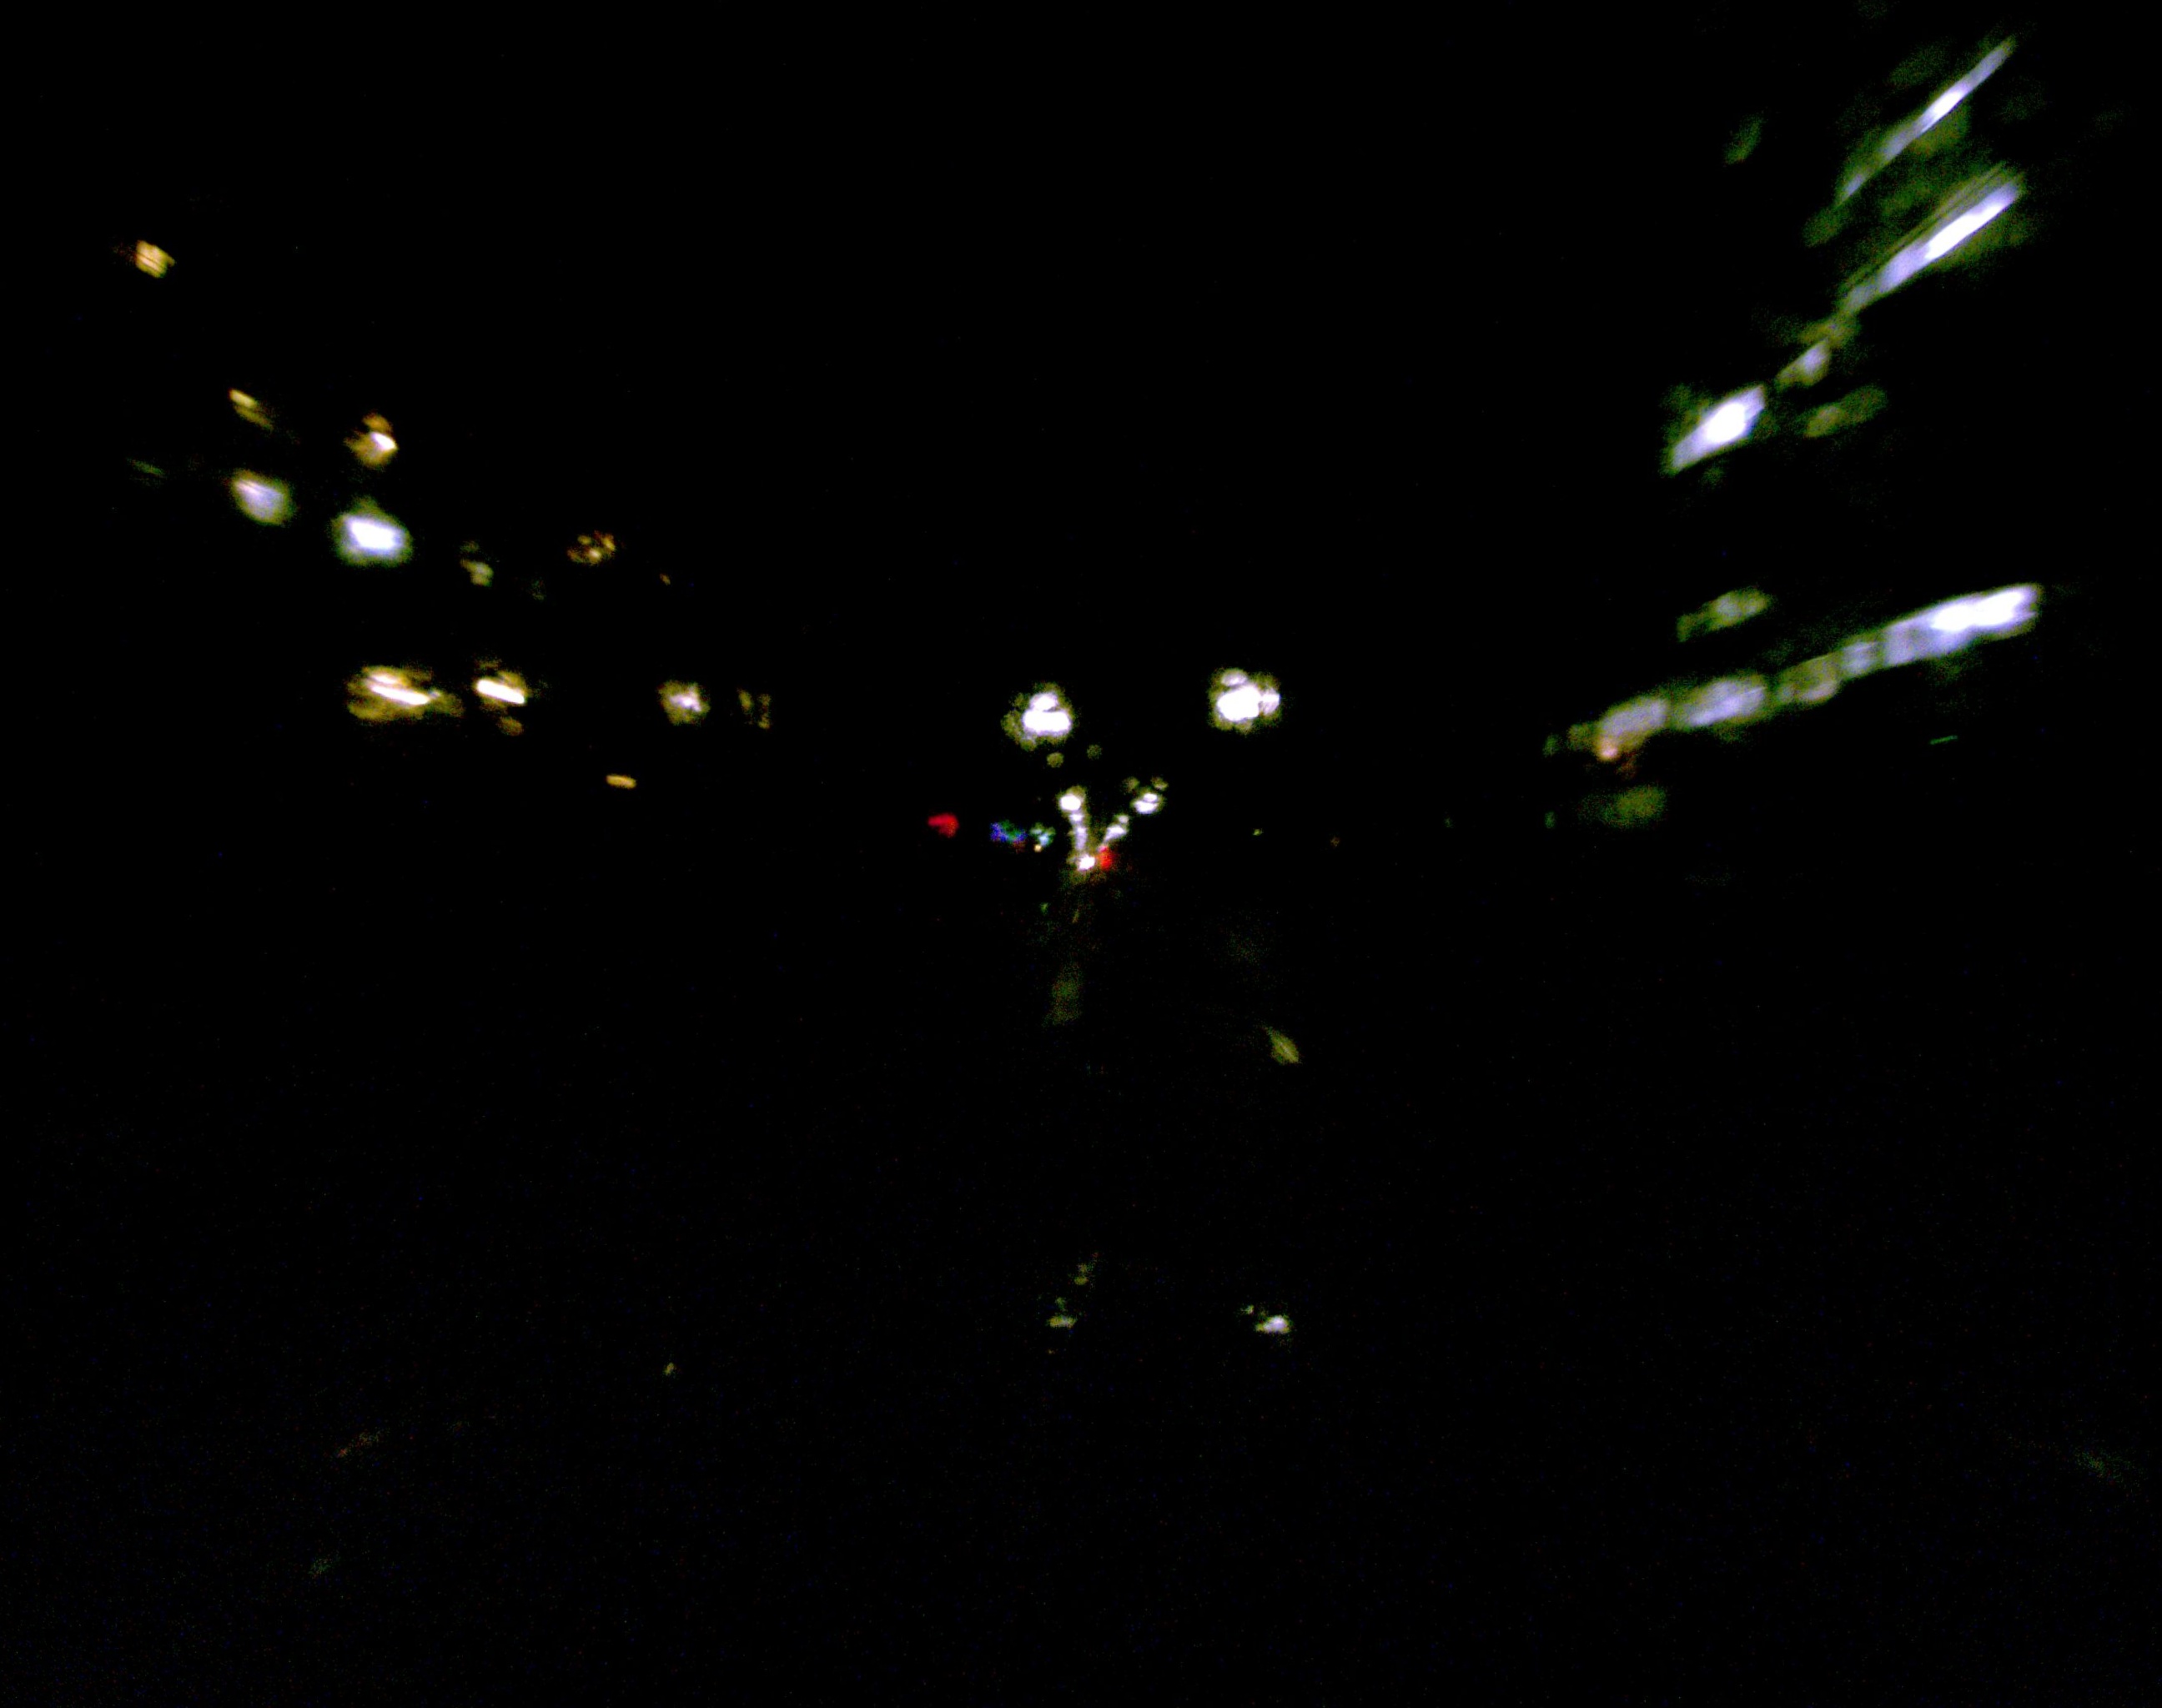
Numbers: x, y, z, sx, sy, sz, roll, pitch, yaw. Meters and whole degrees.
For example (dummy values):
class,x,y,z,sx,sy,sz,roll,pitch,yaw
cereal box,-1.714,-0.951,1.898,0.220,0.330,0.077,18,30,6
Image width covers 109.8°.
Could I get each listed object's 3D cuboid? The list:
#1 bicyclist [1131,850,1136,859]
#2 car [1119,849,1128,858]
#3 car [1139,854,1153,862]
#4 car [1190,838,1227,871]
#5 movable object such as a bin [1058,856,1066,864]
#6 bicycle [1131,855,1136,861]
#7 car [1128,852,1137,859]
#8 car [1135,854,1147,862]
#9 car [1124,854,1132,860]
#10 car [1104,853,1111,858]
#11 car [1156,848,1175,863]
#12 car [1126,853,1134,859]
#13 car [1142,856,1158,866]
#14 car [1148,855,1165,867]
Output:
class,x,y,z,sx,sy,sz,roll,pitch,yaw
bicyclist,9.675,0.166,139.339,0.784,1.646,1.206,1,1,1
car,12.935,-0.062,230.352,2.248,2.494,5.259,-3,0,-2
car,11.696,0.689,136.968,1.893,1.454,4.958,0,0,-3
car,10.282,0.063,61.860,2.190,2.576,6.393,-1,0,3
movable object such as a bin,-3.604,1.145,147.140,1.371,1.414,1.073,1,1,6
bicycle,9.662,0.674,139.351,0.784,1.076,1.918,1,1,1
car,12.761,0.448,188.141,1.814,1.569,4.353,-4,0,1
car,11.700,0.808,147.576,1.845,1.415,4.208,0,0,-2
car,12.228,0.852,197.253,1.723,1.447,3.950,-1,0,0
car,7.634,0.353,219.325,1.780,1.509,4.051,-1,0,1
car,10.297,0.171,92.739,1.974,1.646,4.601,-3,0,2
car,11.391,0.396,177.610,1.735,1.430,4.626,-1,0,1
car,11.296,1.166,124.887,1.885,1.536,4.398,-4,0,-2
car,11.042,0.955,111.016,1.988,1.621,4.517,-1,0,1
